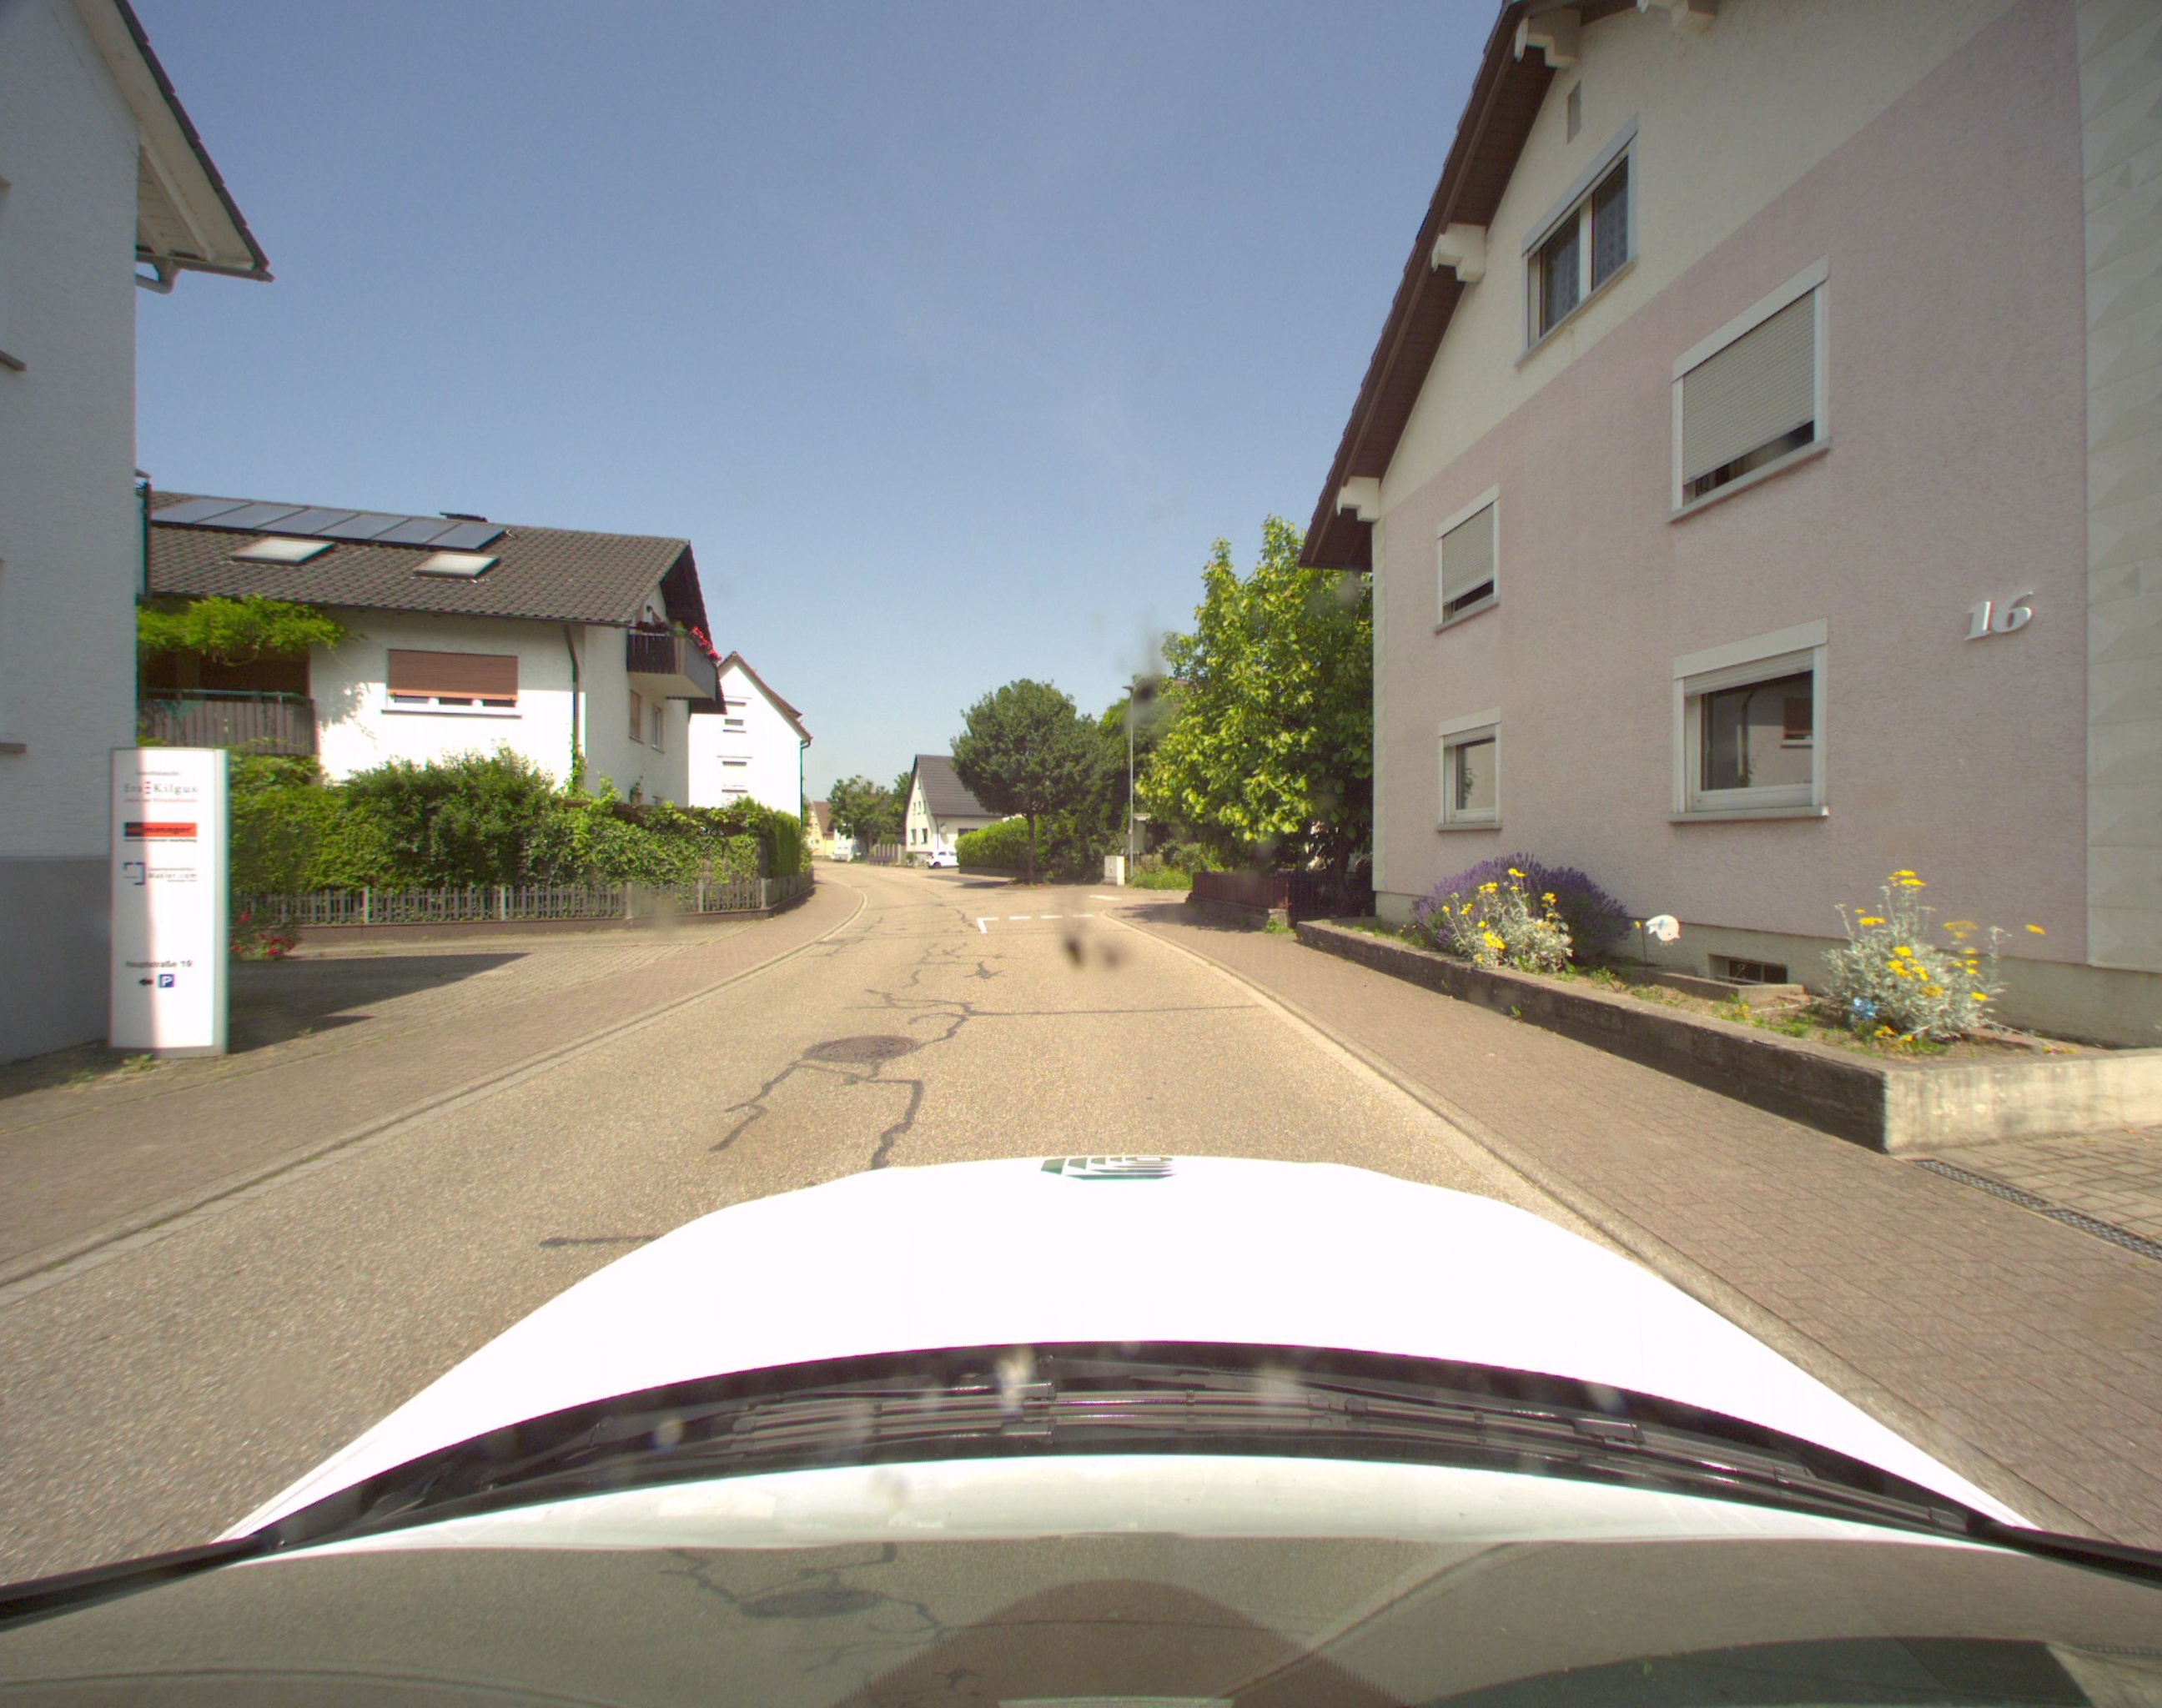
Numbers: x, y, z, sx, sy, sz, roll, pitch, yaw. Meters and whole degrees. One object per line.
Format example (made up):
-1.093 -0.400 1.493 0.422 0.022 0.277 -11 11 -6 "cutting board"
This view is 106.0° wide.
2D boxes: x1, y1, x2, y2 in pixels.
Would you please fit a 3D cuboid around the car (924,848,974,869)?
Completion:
-10.742 0.357 66.285 3.679 1.474 1.749 -2 2 -29 "car"
